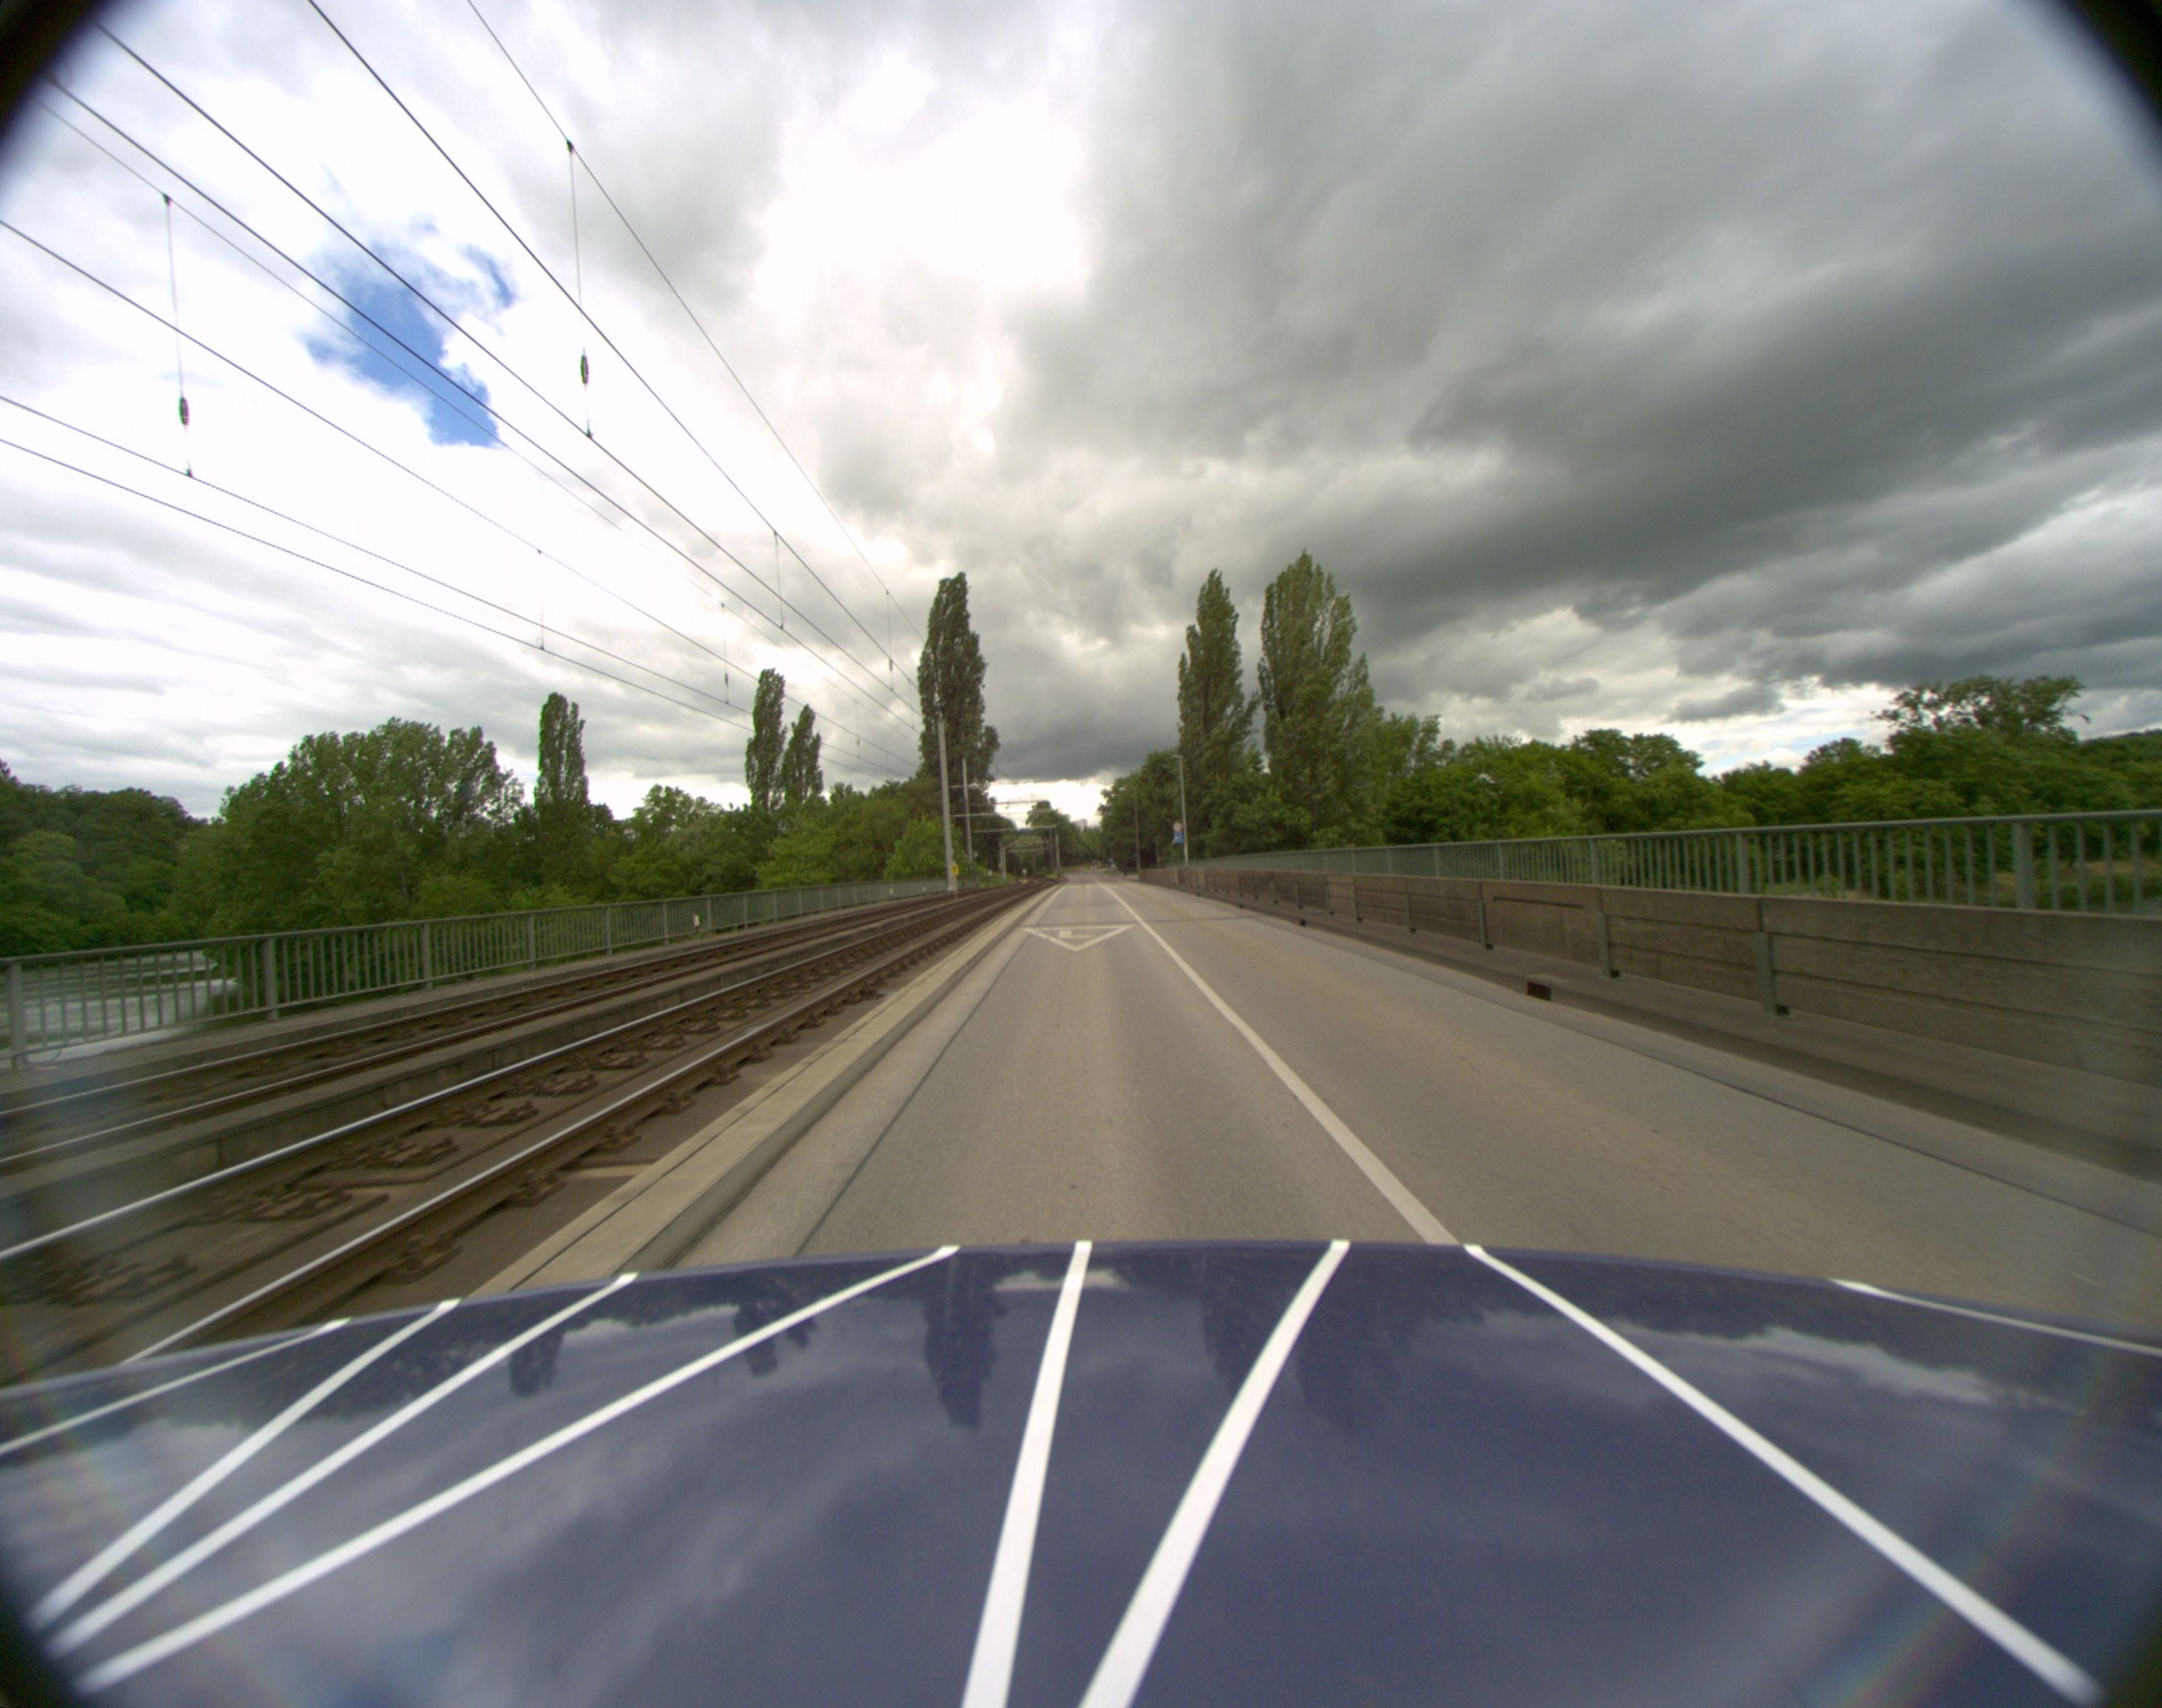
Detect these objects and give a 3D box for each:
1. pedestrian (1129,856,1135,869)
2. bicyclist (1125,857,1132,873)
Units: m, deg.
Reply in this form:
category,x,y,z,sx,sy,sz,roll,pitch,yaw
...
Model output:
category,x,y,z,sx,sy,sz,roll,pitch,yaw
pedestrian,7.157,1.171,105.969,0.552,1.755,0.858,-7,0,-1
bicyclist,5.982,1.409,95.644,0.688,1.936,0.835,-4,0,-4
